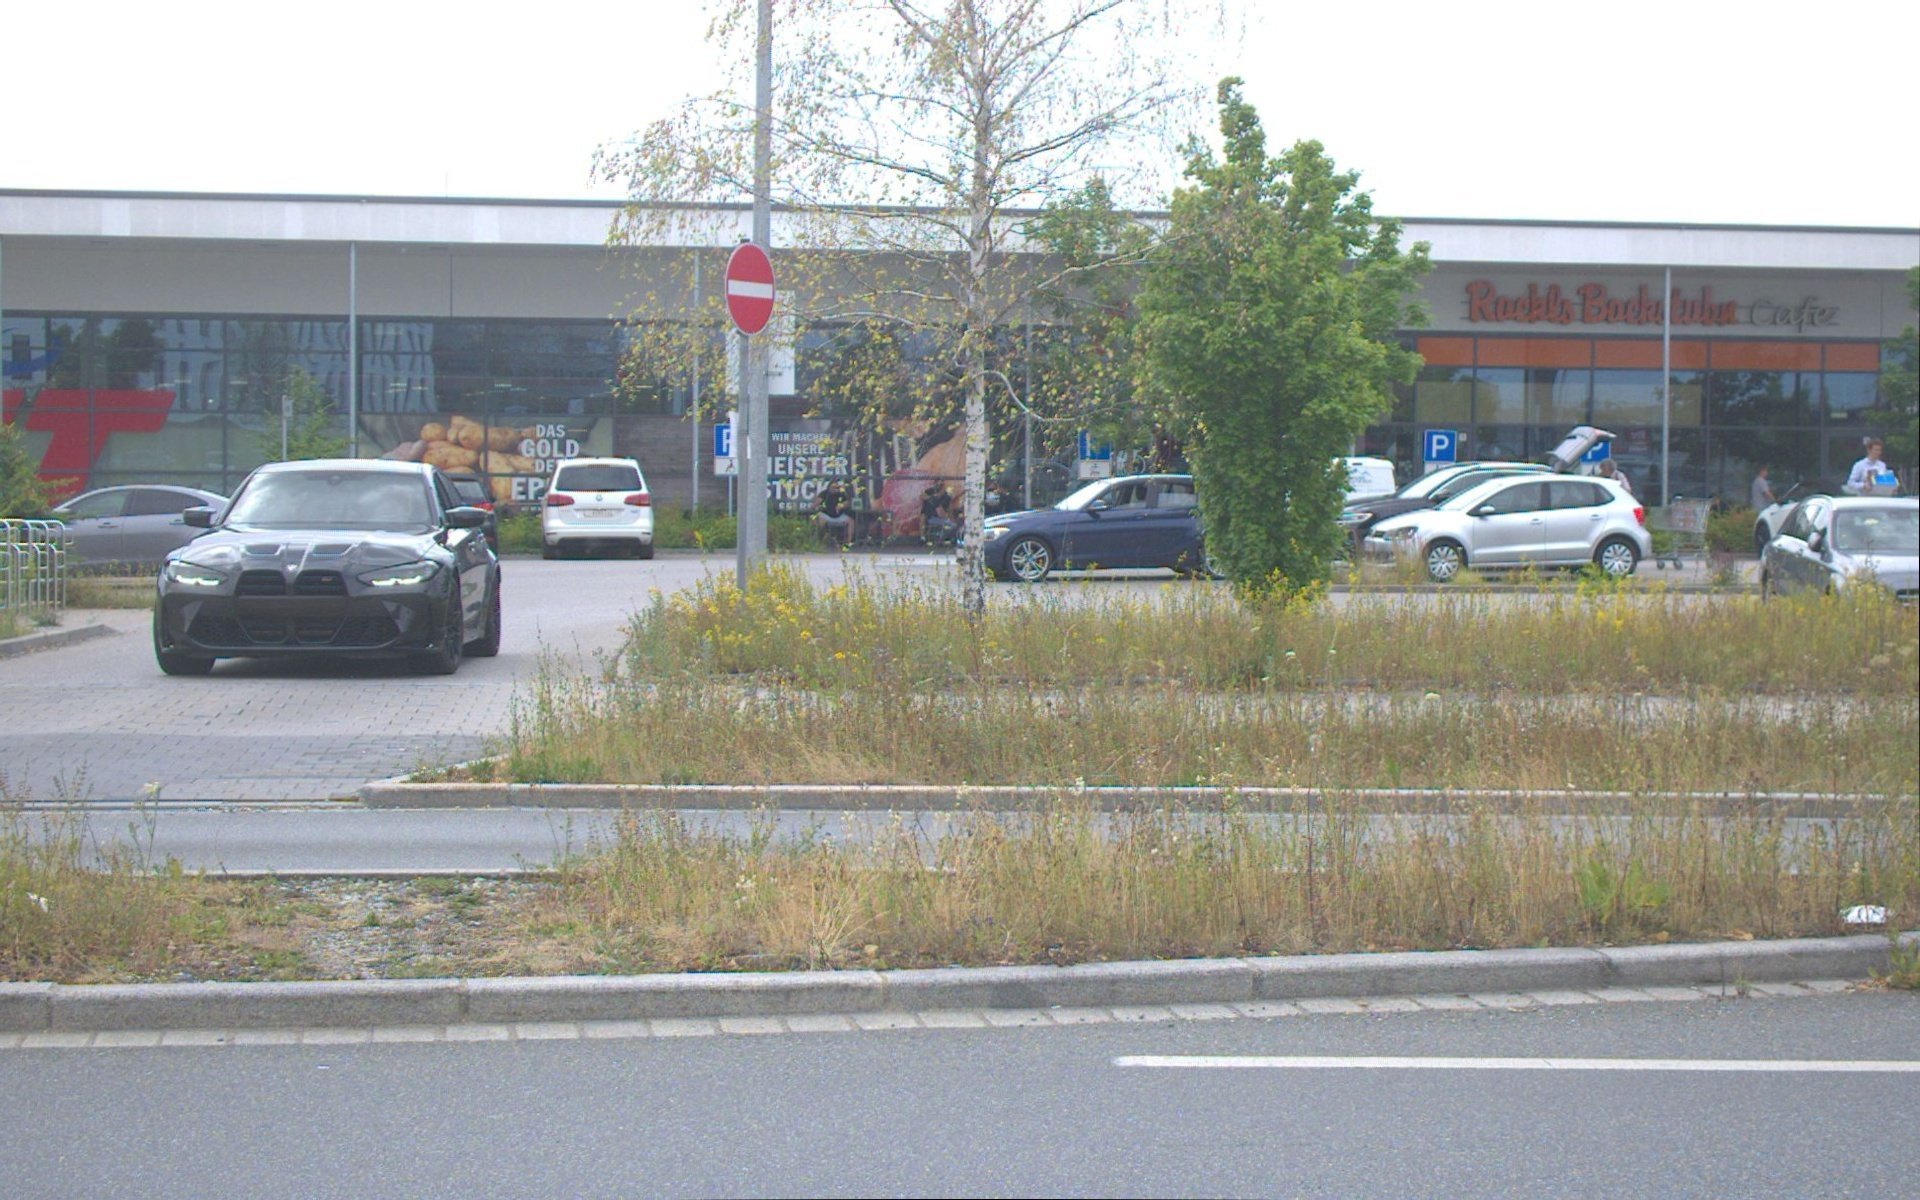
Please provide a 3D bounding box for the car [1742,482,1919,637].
[{"bbox_3d":[8.950,-0.418,32.919,1.988,1.379,4.150,1,2,1],"label":"car"}]

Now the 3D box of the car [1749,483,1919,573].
[{"bbox_3d":[15.837,-1.326,61.955,1.993,1.502,4.001,1,3,-5],"label":"car"}]

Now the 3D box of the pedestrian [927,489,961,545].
[{"bbox_3d":[-0.327,-1.658,68.596,0.576,1.120,0.562,0,2,-11],"label":"pedestrian"}]

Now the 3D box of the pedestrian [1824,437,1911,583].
[{"bbox_3d":[12.710,-1.271,48.177,0.865,2.006,1.004,1,2,-2],"label":"pedestrian"}]

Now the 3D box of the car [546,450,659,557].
[{"bbox_3d":[-6.115,-1.690,59.118,1.824,1.694,4.235,0,3,-5],"label":"car"}]

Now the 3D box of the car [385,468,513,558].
[{"bbox_3d":[-8.705,-1.514,58.792,1.906,1.439,4.001,0,2,-5],"label":"car"}]

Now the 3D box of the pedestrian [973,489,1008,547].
[{"bbox_3d":[0.601,-1.614,67.812,0.576,1.120,0.562,0,2,-11],"label":"pedestrian"}]

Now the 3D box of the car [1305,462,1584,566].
[{"bbox_3d":[7.117,-1.276,50.698,3.746,1.449,1.668,0,3,-7],"label":"car"}]

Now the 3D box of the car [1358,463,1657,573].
[{"bbox_3d":[7.560,-1.145,47.656,3.746,1.449,1.668,0,3,-7],"label":"car"}]

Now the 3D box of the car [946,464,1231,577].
[{"bbox_3d":[1.712,-1.086,46.647,3.606,1.449,1.668,0,3,-8],"label":"car"}]

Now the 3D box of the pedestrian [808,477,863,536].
[{"bbox_3d":[-2.498,-1.885,68.876,0.970,1.150,1.133,0,3,-9],"label":"pedestrian"}]

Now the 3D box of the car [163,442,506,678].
[{"bbox_3d":[-4.168,-0.327,23.546,1.779,1.440,4.611,1,2,-4],"label":"car"}]

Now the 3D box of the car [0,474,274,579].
[{"bbox_3d":[-11.503,-1.022,47.281,3.986,1.347,2.001,1,2,-9],"label":"car"}]

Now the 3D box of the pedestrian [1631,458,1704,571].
[{"bbox_3d":[10.390,-1.262,50.528,0.821,1.626,0.899,1,2,-2],"label":"pedestrian"}]

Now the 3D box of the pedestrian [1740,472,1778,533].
[{"bbox_3d":[16.090,-1.965,69.249,0.560,1.197,0.528,0,2,-7],"label":"pedestrian"}]

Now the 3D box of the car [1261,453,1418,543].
[{"bbox_3d":[6.680,-1.828,60.870,1.993,1.502,4.001,0,3,-5],"label":"car"}]
